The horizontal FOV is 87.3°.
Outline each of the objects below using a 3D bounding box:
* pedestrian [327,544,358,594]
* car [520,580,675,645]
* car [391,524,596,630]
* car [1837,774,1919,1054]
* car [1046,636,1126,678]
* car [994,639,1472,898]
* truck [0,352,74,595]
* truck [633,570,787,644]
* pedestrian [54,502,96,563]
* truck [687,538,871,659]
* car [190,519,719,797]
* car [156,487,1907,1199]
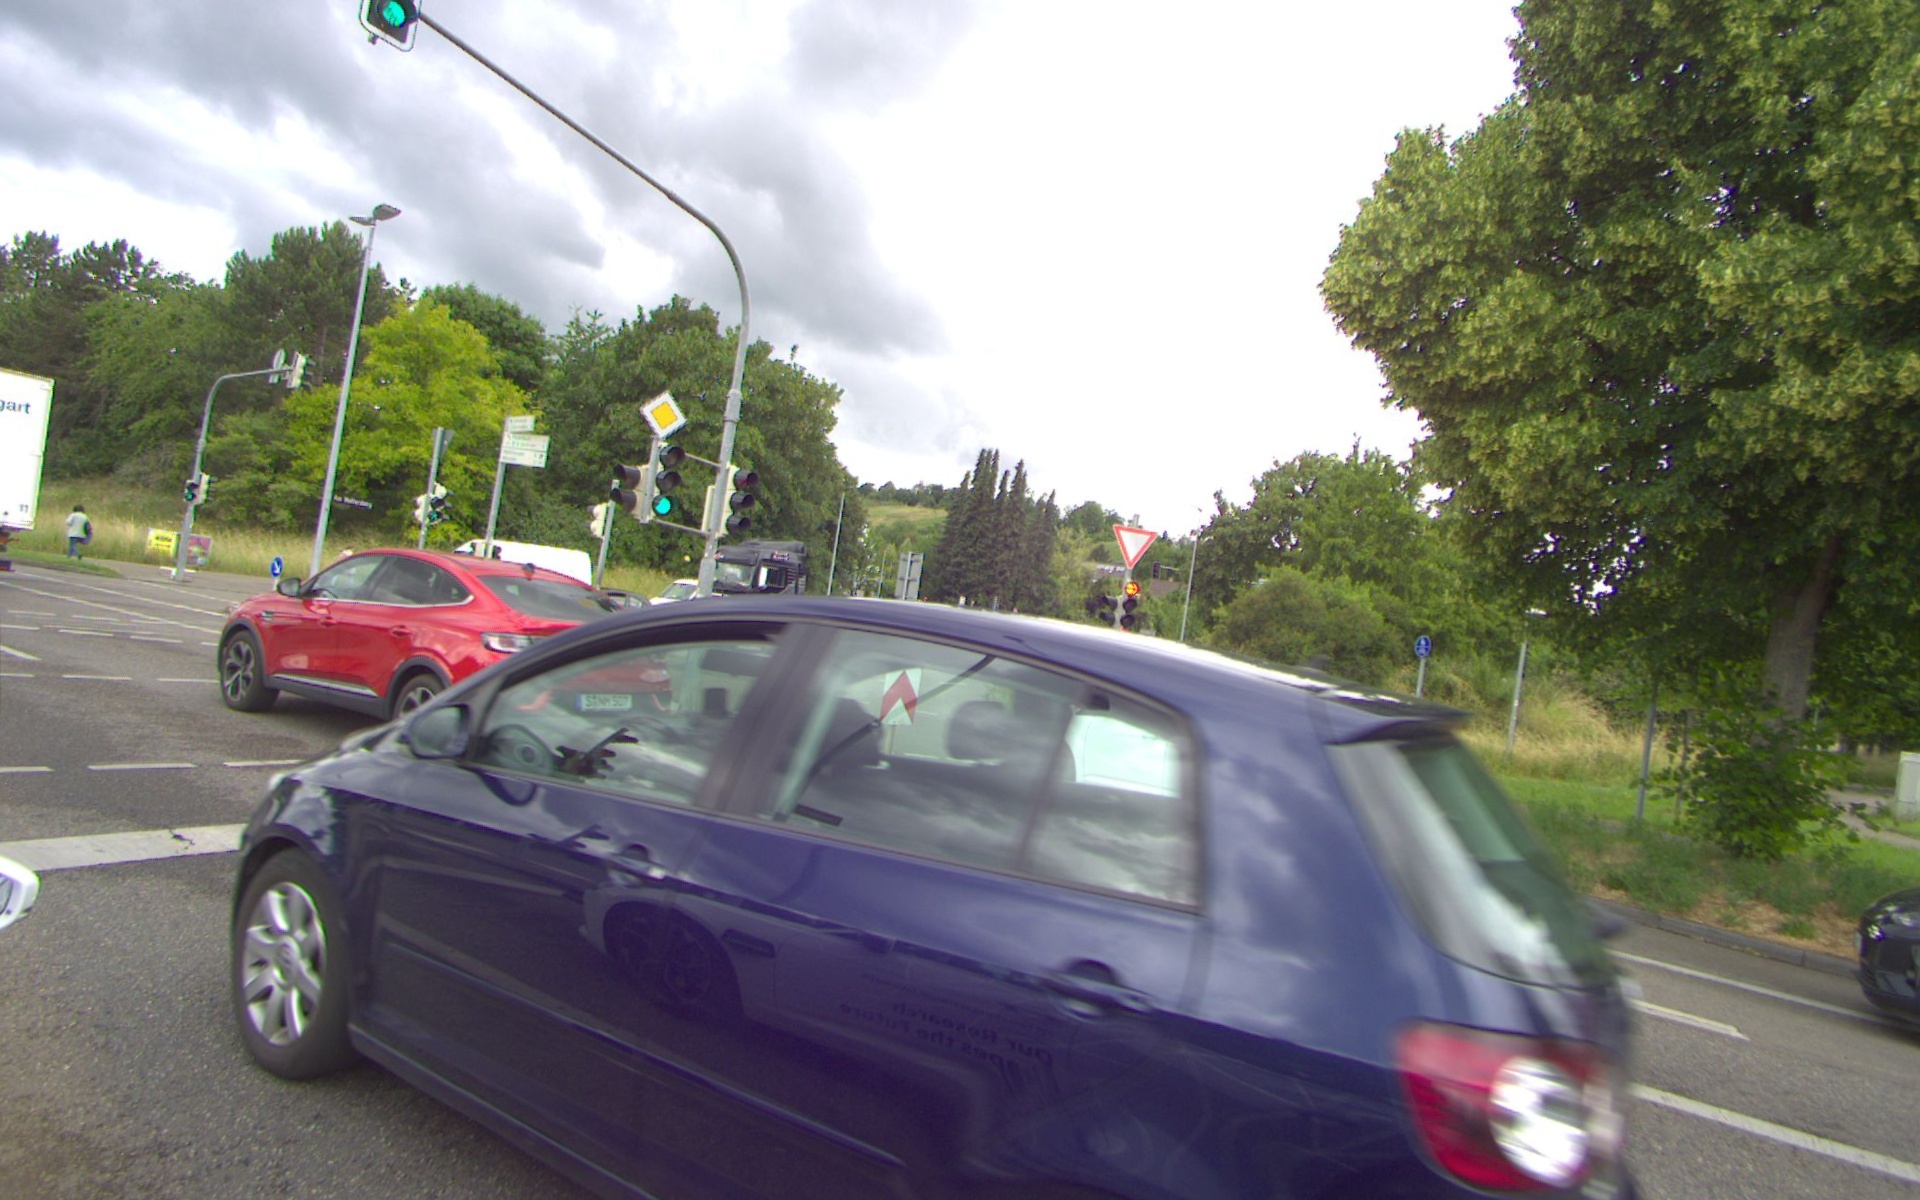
[{"bbox_3d":[-21.172,-1.070,34.483,0.642,1.630,0.706,8,-1,-40],"label":"pedestrian"},{"bbox_3d":[-10.395,0.401,29.073,1.669,1.353,3.882,6,-3,34],"label":"car"},{"bbox_3d":[-15.357,-0.671,33.538,1.968,2.660,5.814,6,-2,34],"label":"car"},{"bbox_3d":[7.131,2.030,5.336,3.511,1.521,1.605,6,-5,38],"label":"car"},{"bbox_3d":[7.714,3.481,61.159,4.932,1.927,1.976,9,-3,-43],"label":"car"},{"bbox_3d":[2.528,1.531,10.250,1.753,1.673,4.321,10,-3,-40],"label":"car"},{"bbox_3d":[-20.631,-2.723,18.886,10.011,3.949,2.808,7,-1,31],"label":"truck"},{"bbox_3d":[-10.089,0.371,41.209,2.128,2.255,6.028,6,-2,35],"label":"truck"},{"bbox_3d":[-25.871,-1.977,29.414,0.703,1.681,0.644,6,-1,39],"label":"pedestrian"},{"bbox_3d":[-6.209,0.054,35.393,2.648,3.527,6.004,6,-1,34],"label":"truck"},{"bbox_3d":[-4.325,0.373,8.439,4.304,1.548,1.851,7,-2,32],"label":"car"},{"bbox_3d":[-0.313,0.711,2.829,3.930,1.617,1.668,6,-2,31],"label":"car"}]
